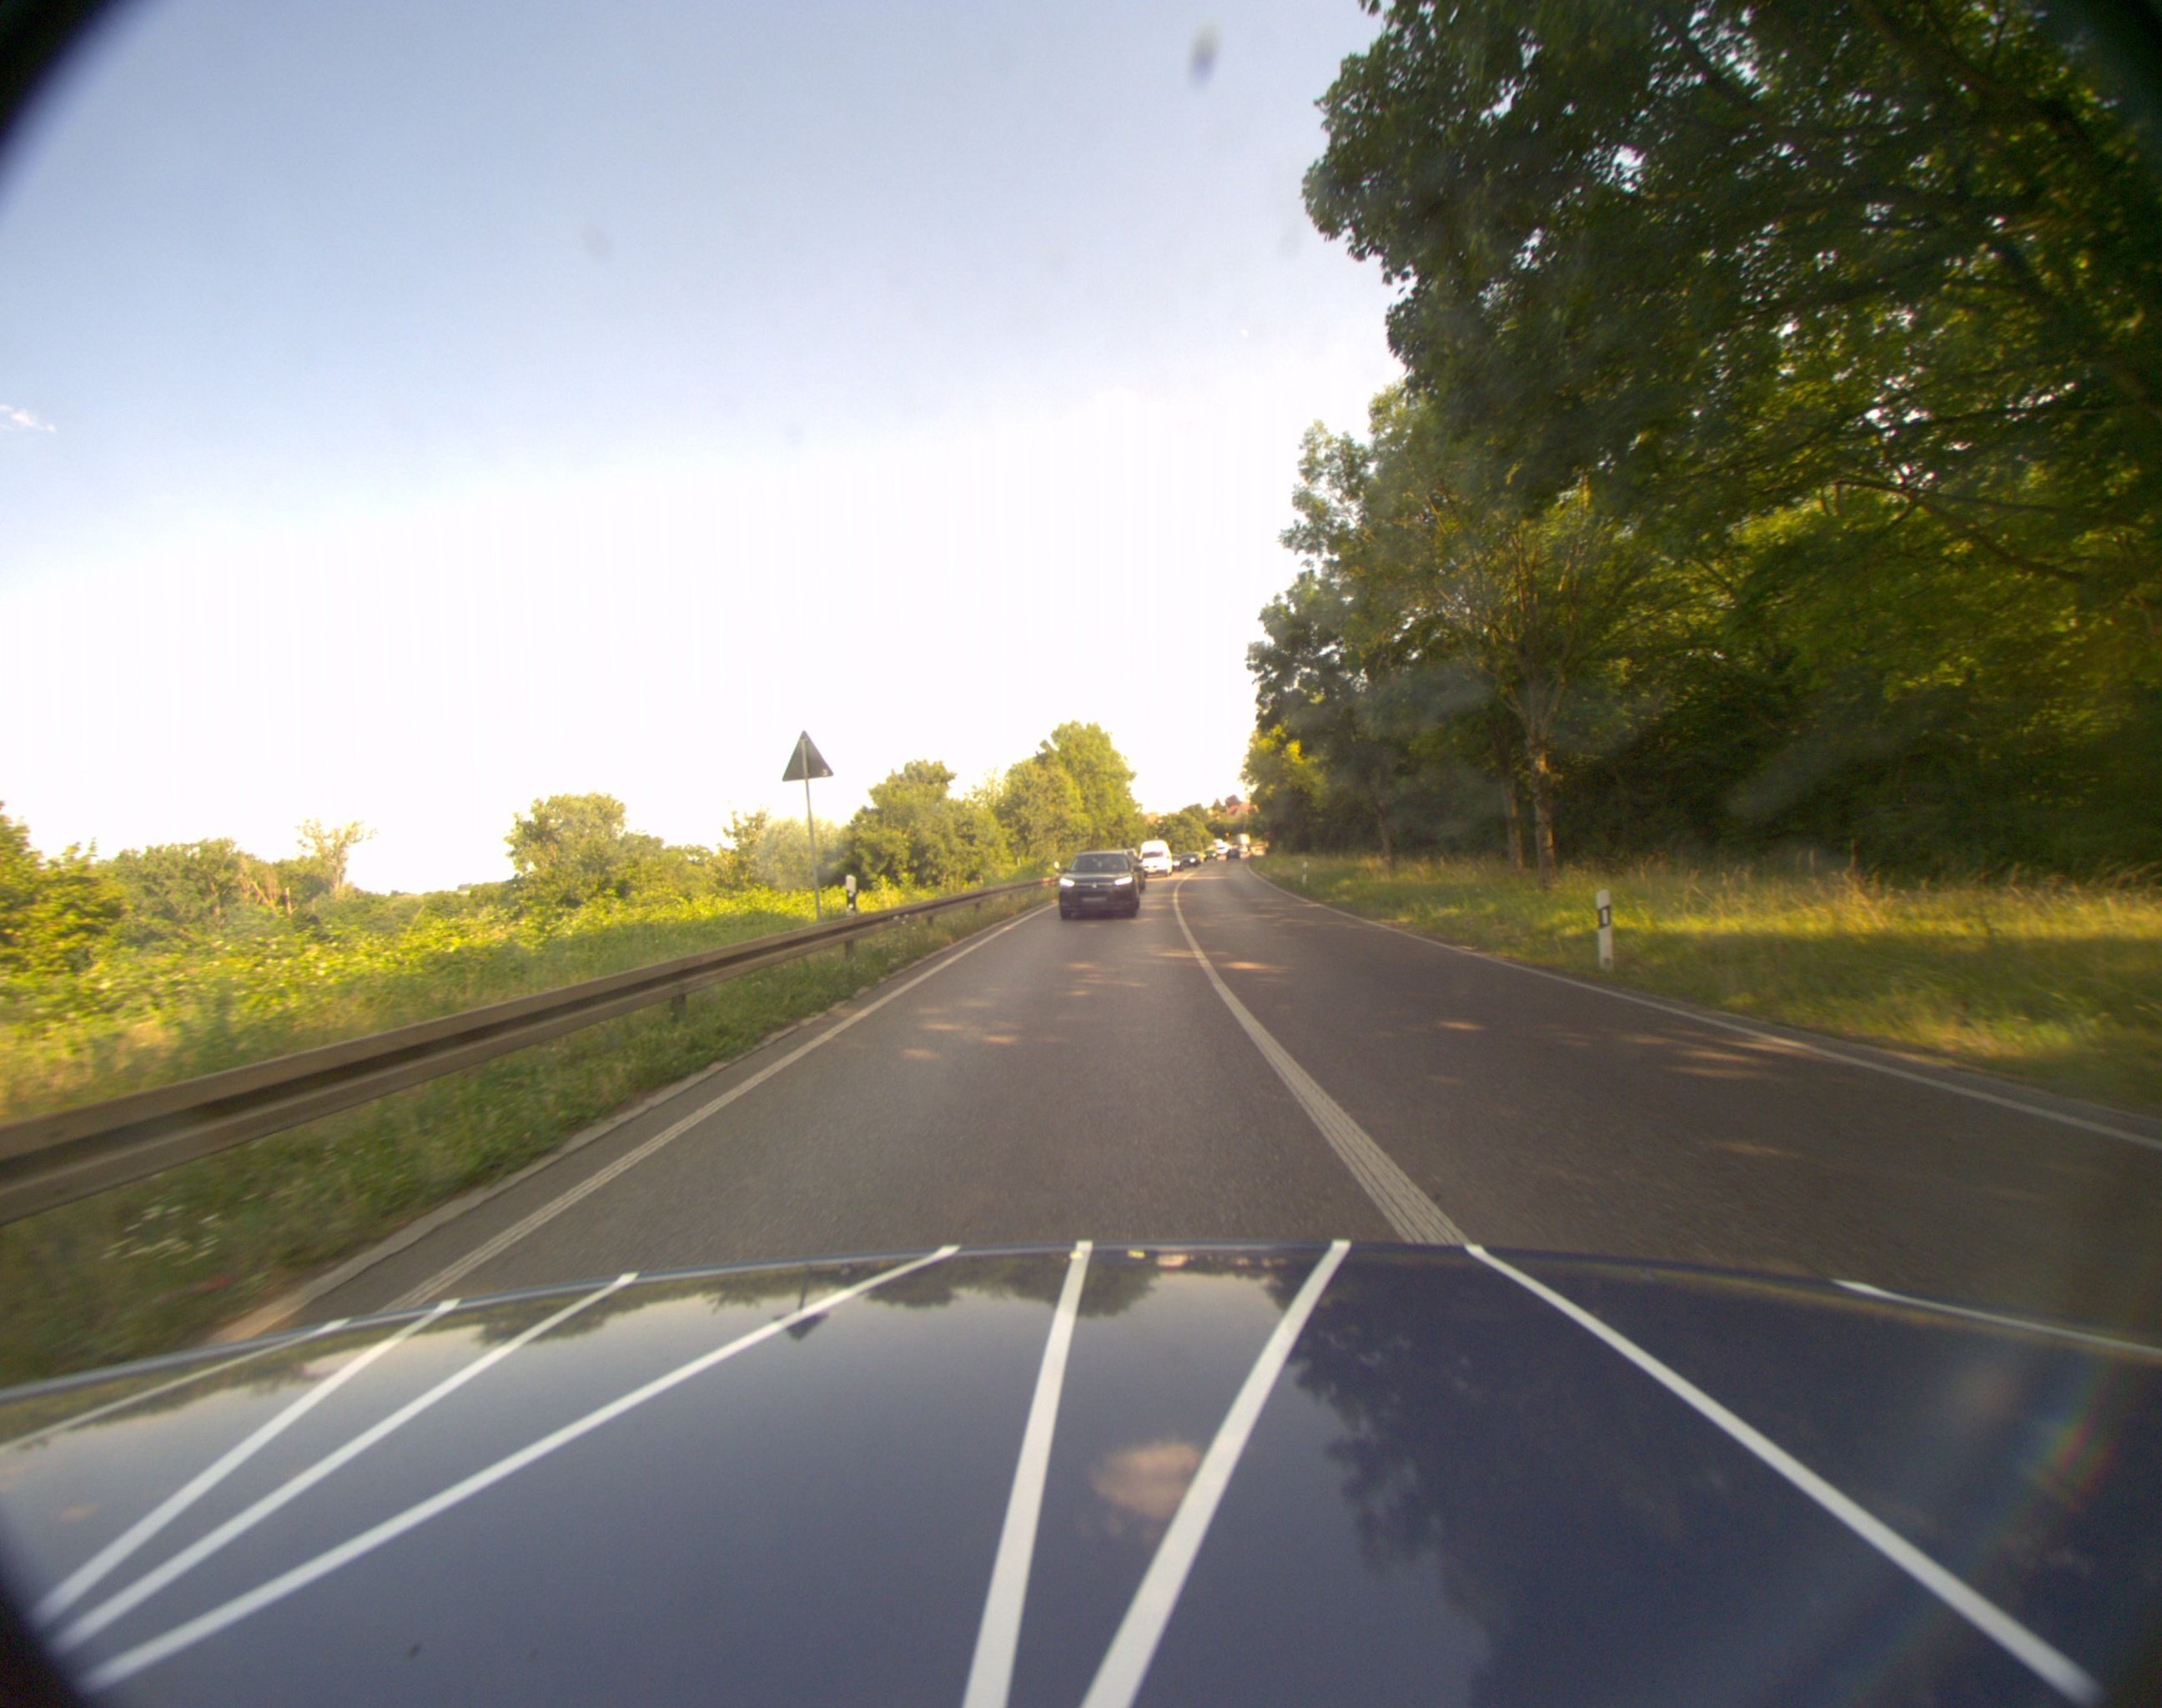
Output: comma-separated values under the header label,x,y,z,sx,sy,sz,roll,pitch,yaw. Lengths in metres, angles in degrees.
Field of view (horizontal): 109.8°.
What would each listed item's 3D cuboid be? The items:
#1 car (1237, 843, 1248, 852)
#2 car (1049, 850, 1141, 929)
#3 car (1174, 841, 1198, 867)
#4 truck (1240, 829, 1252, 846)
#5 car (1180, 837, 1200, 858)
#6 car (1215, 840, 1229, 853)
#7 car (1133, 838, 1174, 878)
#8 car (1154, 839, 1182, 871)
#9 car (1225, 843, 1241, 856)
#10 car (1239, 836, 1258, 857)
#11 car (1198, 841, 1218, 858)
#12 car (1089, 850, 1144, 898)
label,x,y,z,sx,sy,sz,roll,pitch,yaw
car,31.780,-1.364,149.665,1.893,1.622,4.255,-2,1,14
car,0.489,0.775,18.882,1.921,1.612,4.702,-2,1,5
car,10.533,-0.025,76.615,2.087,2.403,5.144,-2,1,6
truck,53.212,-5.256,244.802,3.628,5.140,10.470,-2,0,13
car,12.914,-0.767,90.530,2.087,2.403,5.144,-2,1,6
car,28.068,-1.502,151.177,2.086,2.403,5.148,-2,1,17
car,4.776,0.214,49.470,2.086,2.403,5.146,-2,1,11
car,7.110,0.036,62.555,2.087,2.403,5.144,-2,1,6
car,19.969,-0.644,99.848,1.900,1.622,4.254,-2,1,11
car,20.719,-0.937,94.020,2.087,2.403,5.146,-2,1,11
car,18.588,-0.688,111.167,2.086,2.403,5.148,-2,1,17
car,1.509,0.748,30.334,1.921,1.718,4.703,-2,0,5
